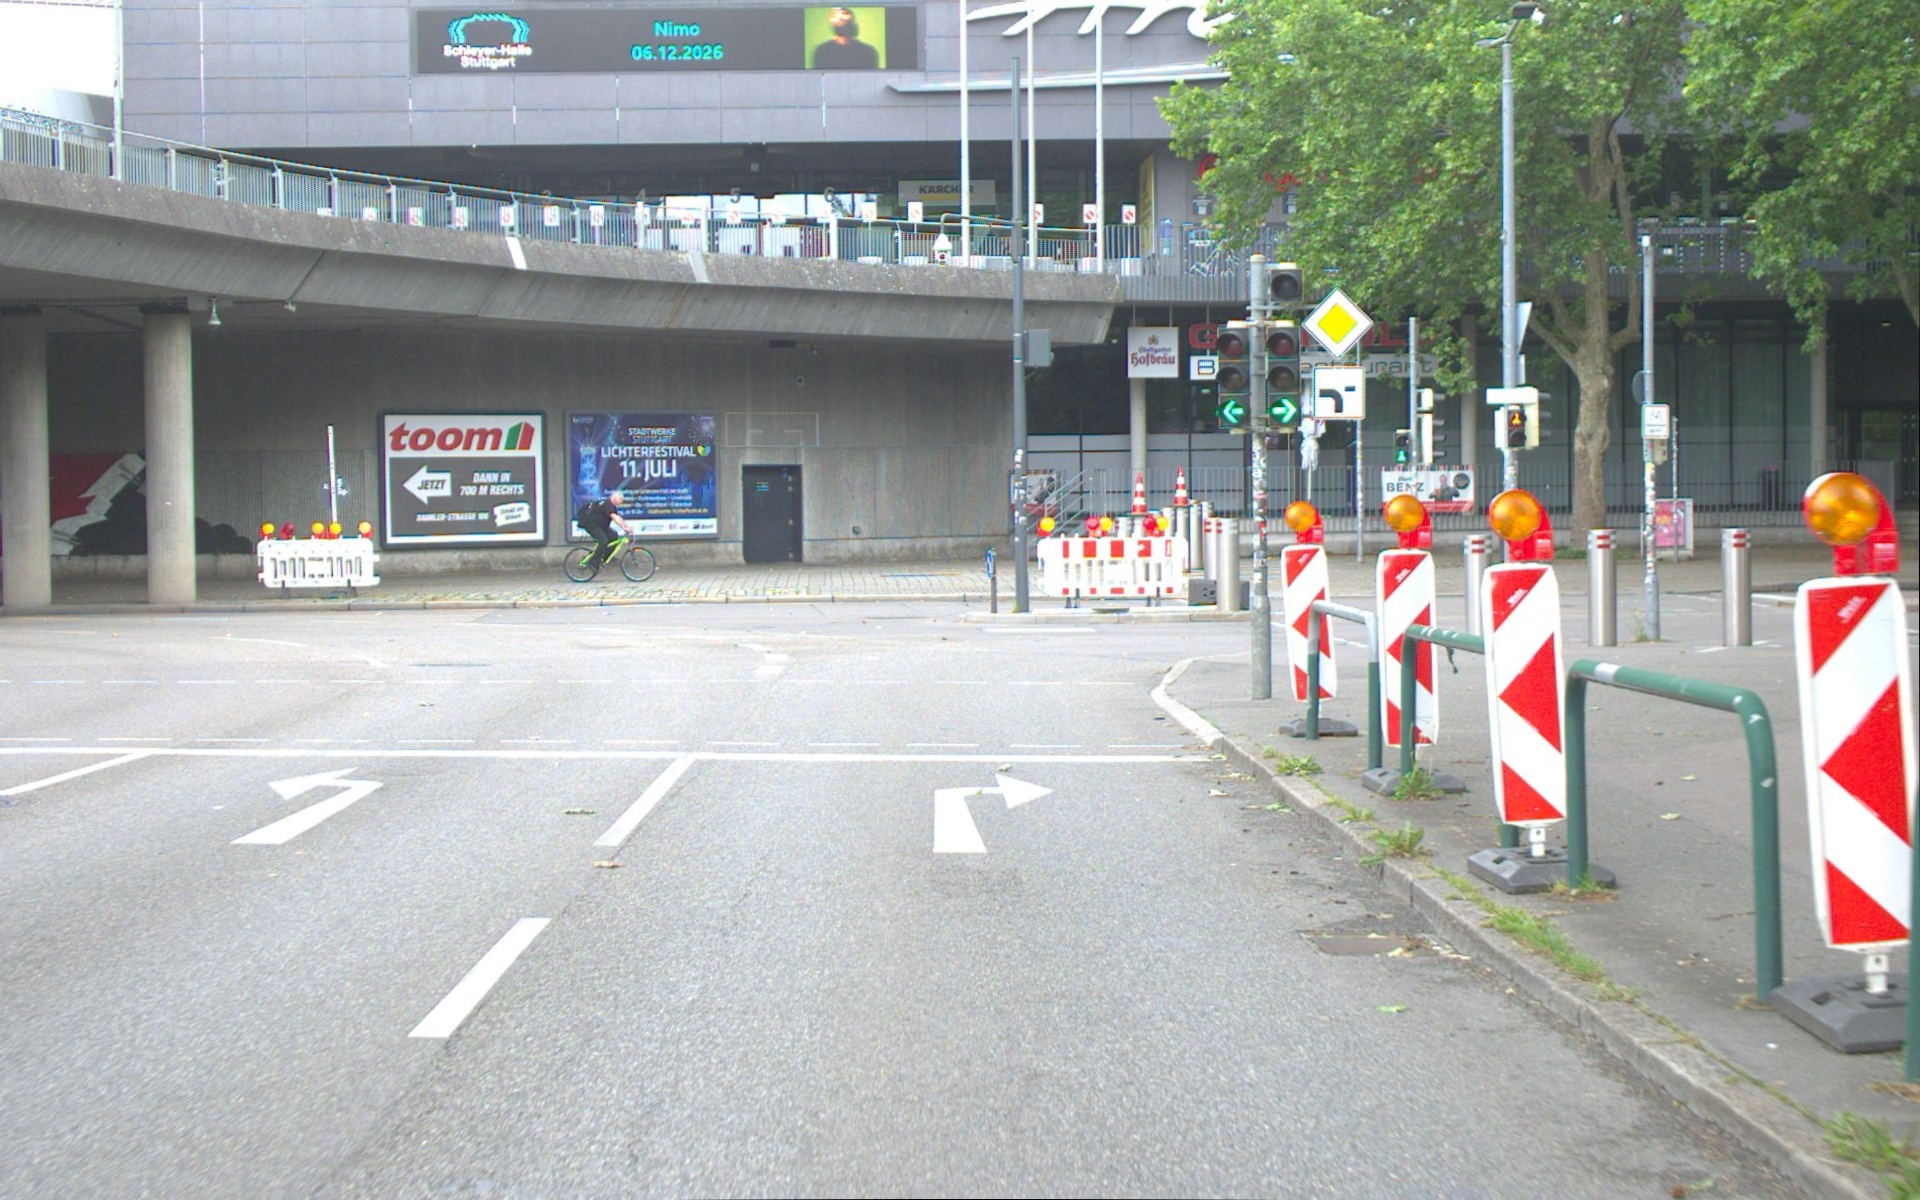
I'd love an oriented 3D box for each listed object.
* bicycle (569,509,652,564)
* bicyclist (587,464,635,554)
[{"bbox_3d":[-6.614,-1.211,65.180,1.532,1.009,0.517,1,1,-4],"label":"bicycle"},{"bbox_3d":[-6.610,-1.720,65.177,0.851,1.692,0.767,1,1,-4],"label":"bicyclist"}]
